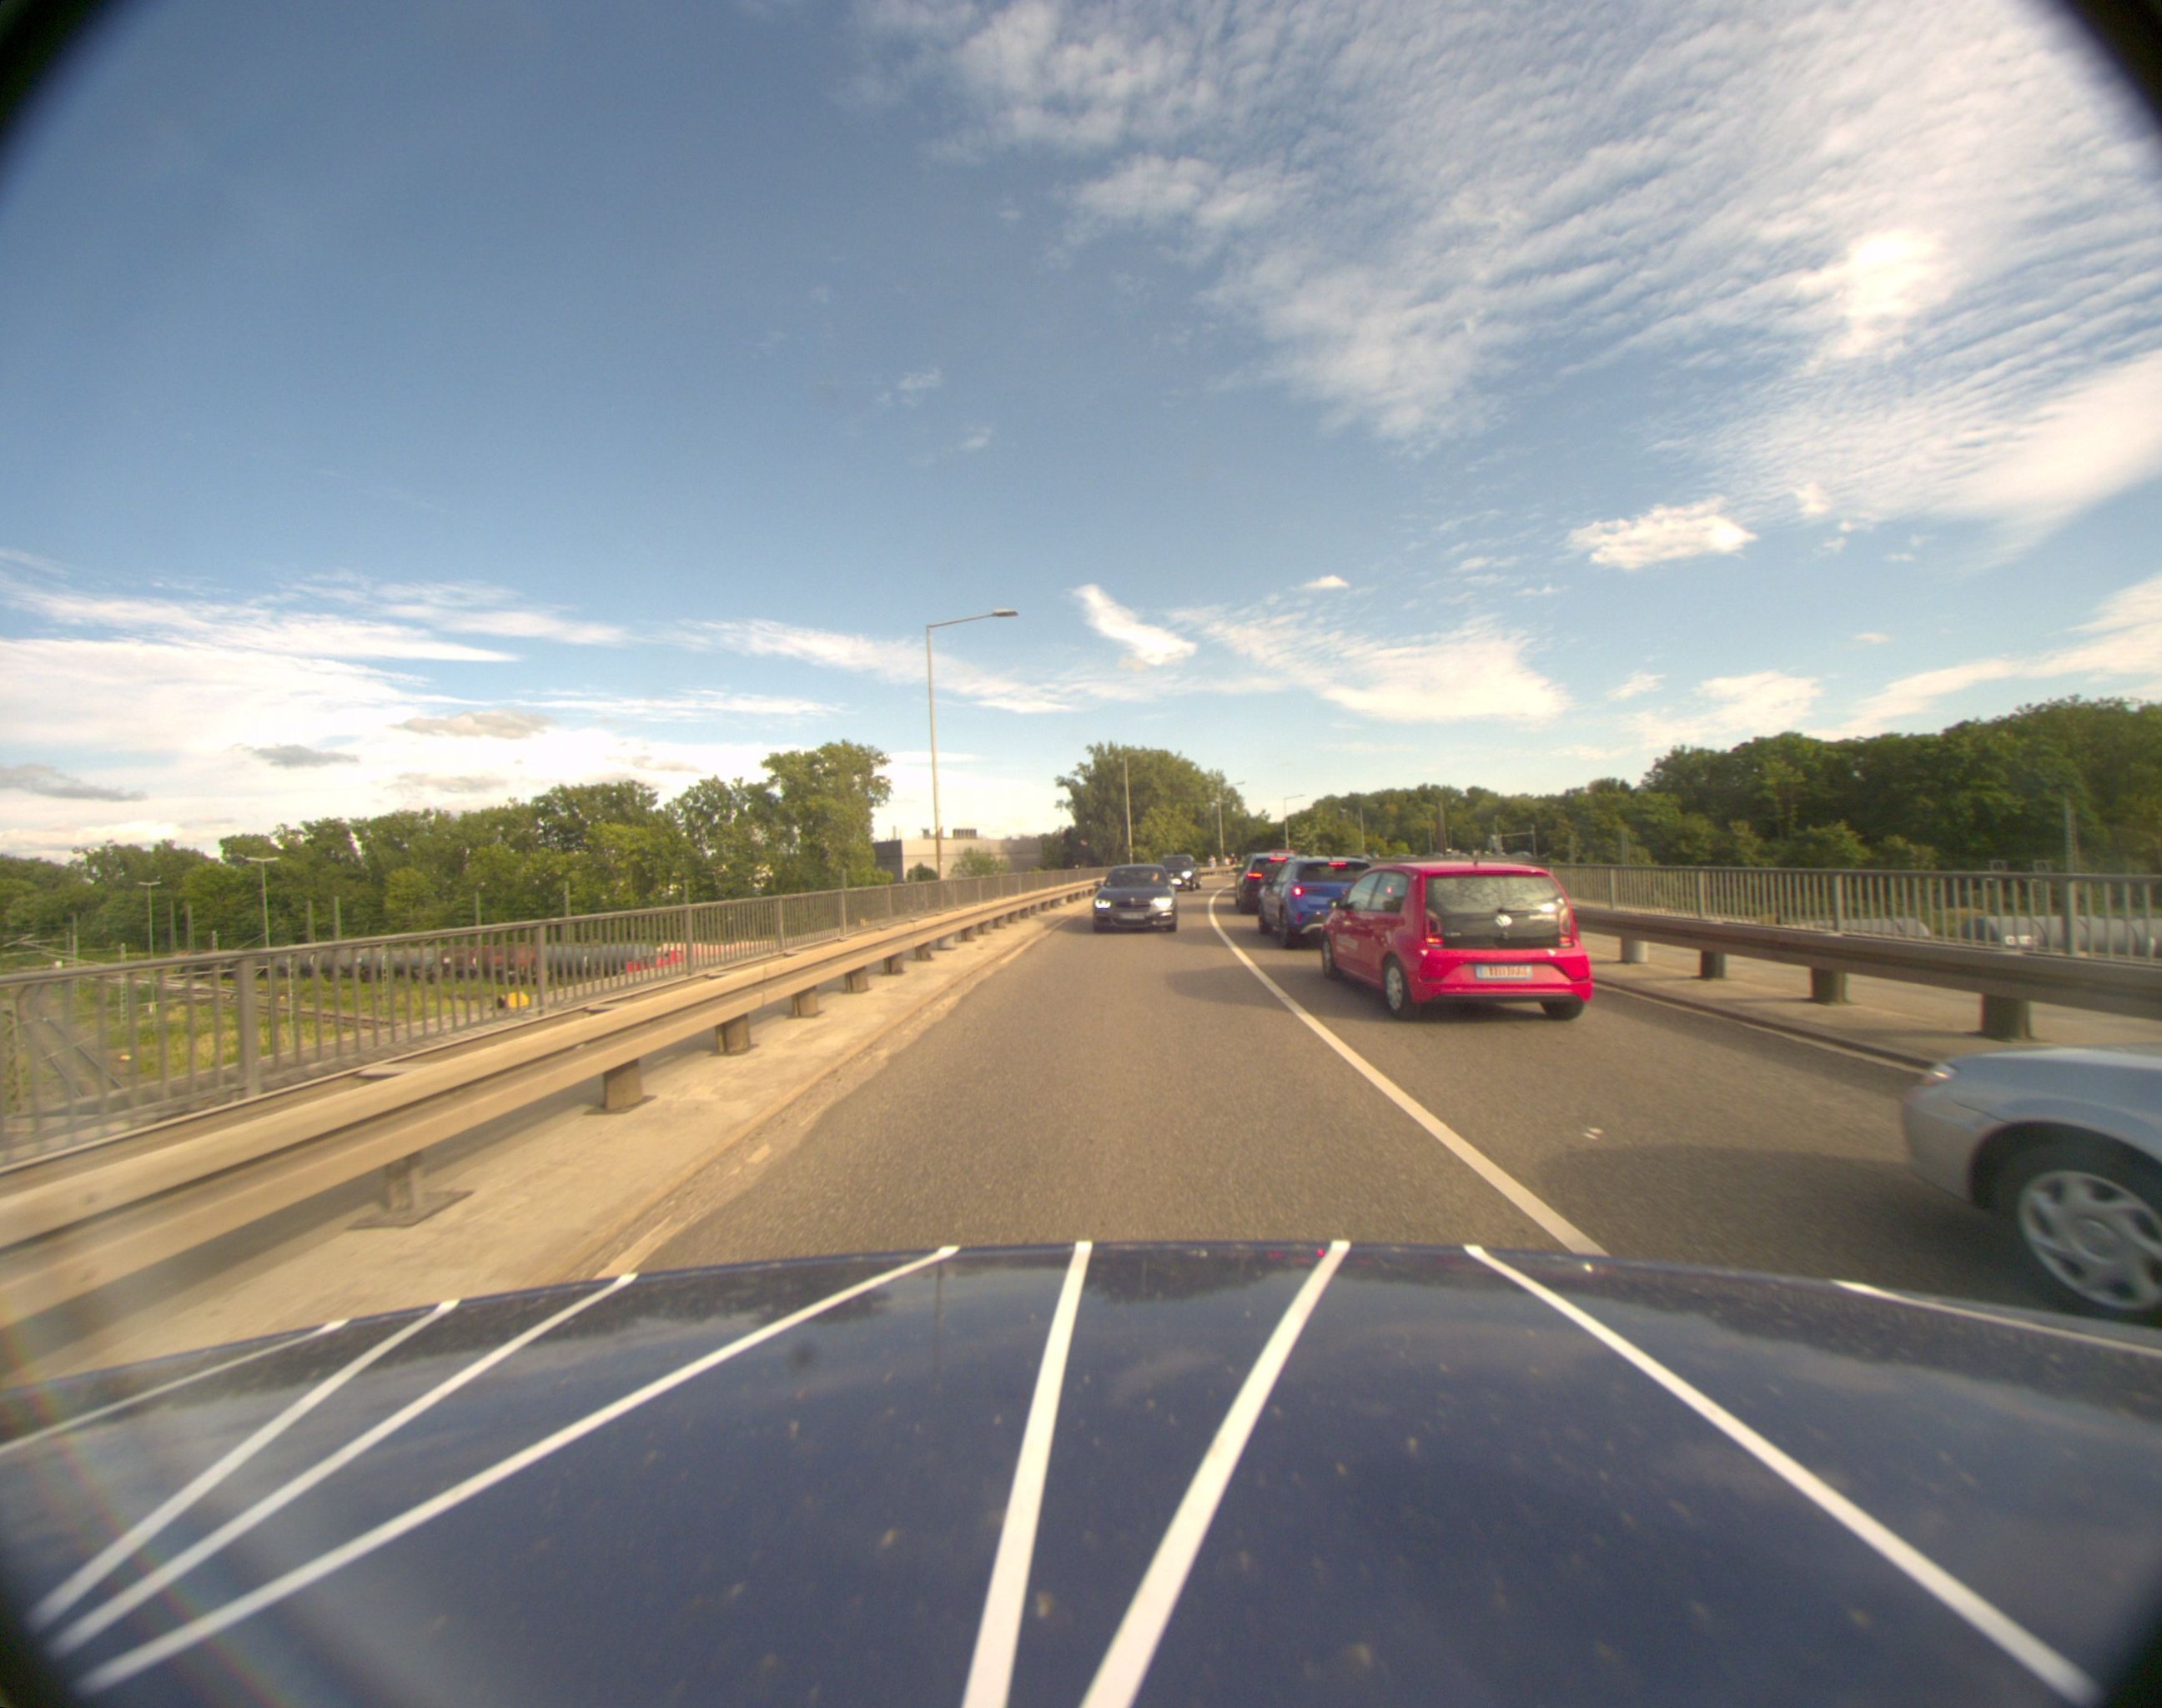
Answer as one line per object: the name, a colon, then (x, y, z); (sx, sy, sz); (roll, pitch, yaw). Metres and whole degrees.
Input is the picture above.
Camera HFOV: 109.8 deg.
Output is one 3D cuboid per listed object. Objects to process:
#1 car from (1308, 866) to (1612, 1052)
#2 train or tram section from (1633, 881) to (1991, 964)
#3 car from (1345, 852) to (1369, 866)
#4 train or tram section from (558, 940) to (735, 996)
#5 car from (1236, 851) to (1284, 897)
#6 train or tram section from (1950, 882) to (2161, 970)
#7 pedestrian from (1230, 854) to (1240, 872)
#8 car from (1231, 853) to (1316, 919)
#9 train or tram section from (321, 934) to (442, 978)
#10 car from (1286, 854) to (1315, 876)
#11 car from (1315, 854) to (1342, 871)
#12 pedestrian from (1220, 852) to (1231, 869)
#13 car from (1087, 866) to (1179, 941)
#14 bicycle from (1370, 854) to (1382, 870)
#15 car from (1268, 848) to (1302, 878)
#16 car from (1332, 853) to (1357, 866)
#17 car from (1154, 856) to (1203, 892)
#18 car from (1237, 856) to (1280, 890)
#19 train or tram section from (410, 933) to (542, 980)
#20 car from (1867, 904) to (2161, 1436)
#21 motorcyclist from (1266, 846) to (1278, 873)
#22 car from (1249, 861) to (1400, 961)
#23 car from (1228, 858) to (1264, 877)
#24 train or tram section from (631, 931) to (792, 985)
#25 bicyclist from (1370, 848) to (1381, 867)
car: (3.675, 0.902, 8.139); (1.602, 1.456, 3.737); (-1, 0, 4)
train or tram section: (45.539, 4.171, 48.317); (16.714, 4.685, 3.100); (-1, 1, 18)
car: (29.708, 0.554, 81.715); (1.741, 1.492, 4.085); (0, 0, 31)
train or tram section: (-39.865, 10.245, 69.452); (17.266, 4.121, 3.100); (-1, 1, 18)
car: (6.918, 0.729, 29.666); (1.684, 1.639, 4.302); (-1, 0, 11)
train or tram section: (61.448, 4.029, 43.170); (16.714, 4.685, 3.100); (-1, 1, 18)
pedestrian: (14.150, 0.791, 69.741); (0.677, 1.652, 0.867); (-1, 1, 28)
car: (5.331, 0.807, 21.526); (1.929, 1.639, 4.591); (-1, 0, 9)
train or tram section: (-83.834, 12.155, 90.953); (16.714, 4.685, 3.101); (-2, 0, 19)
car: (16.905, 0.854, 58.391); (1.754, 1.600, 4.320); (0, 0, 21)
car: (23.012, 0.753, 70.511); (1.742, 1.492, 4.084); (0, 0, 27)
pedestrian: (13.042, 0.602, 68.596); (0.677, 1.535, 0.962); (-1, 1, 28)
car: (1.286, 1.022, 17.119); (1.785, 1.396, 3.973); (-1, 0, 8)
bicycle: (25.872, 0.691, 66.711); (0.764, 1.324, 1.919); (-1, 1, 27)
car: (13.514, 0.572, 50.113); (2.010, 1.892, 4.874); (0, 0, 17)
car: (31.868, 0.602, 91.860); (1.815, 1.498, 4.400); (0, 0, 34)
car: (4.583, 0.885, 35.293); (1.817, 1.498, 4.395); (-1, 0, 13)
car: (8.473, 0.855, 36.010); (1.835, 1.457, 4.523); (-1, 0, 15)
train or tram section: (-68.079, 11.455, 85.369); (16.714, 4.685, 3.101); (-2, 0, 19)
car: (3.891, 0.926, 0.832); (1.736, 1.447, 4.265); (-1, 0, 2)
motorcyclist: (11.044, 0.330, 43.985); (0.621, 1.544, 0.938); (0, 1, 15)
car: (4.262, 0.920, 13.920); (1.803, 1.511, 4.009); (-1, 0, 5)
car: (13.333, 1.068, 61.193); (1.815, 1.396, 4.399); (0, 0, 27)
train or tram section: (-36.465, 10.095, 74.778); (16.714, 4.685, 3.101); (-2, 1, 19)
bicyclist: (25.831, 0.267, 66.654); (0.767, 1.651, 1.122); (-1, 1, 27)
